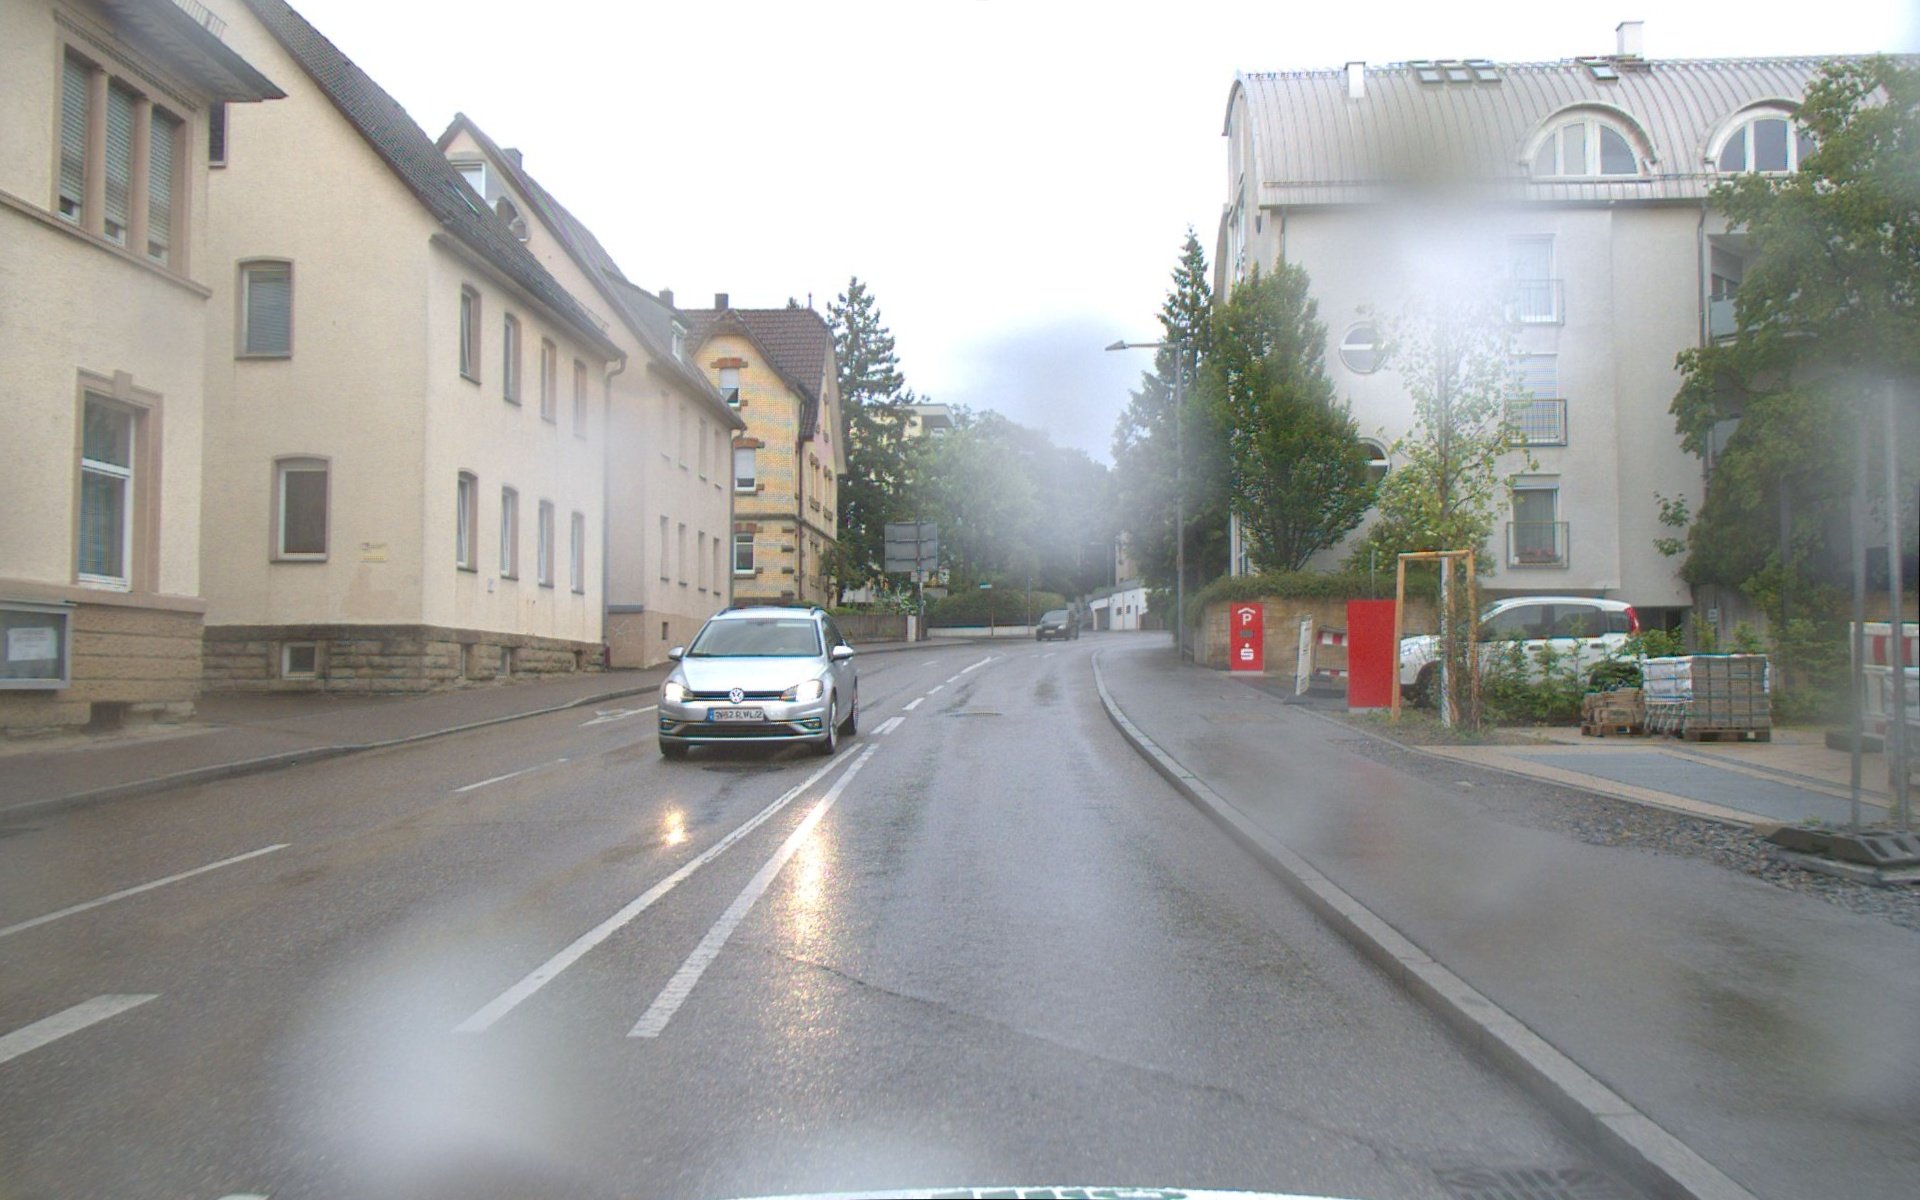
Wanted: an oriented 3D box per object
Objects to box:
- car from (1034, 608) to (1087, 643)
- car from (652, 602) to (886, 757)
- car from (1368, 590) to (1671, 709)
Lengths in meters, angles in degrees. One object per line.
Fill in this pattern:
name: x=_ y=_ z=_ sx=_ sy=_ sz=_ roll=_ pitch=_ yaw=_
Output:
car: x=4.979 y=1.253 z=81.238 sx=1.708 sy=1.599 sz=3.815 roll=3 pitch=0 yaw=17
car: x=-1.927 y=0.763 z=18.098 sx=1.761 sy=1.464 sz=4.691 roll=0 pitch=0 yaw=3
car: x=7.598 y=0.647 z=22.725 sx=3.590 sy=1.529 sz=1.777 roll=1 pitch=0 yaw=3
